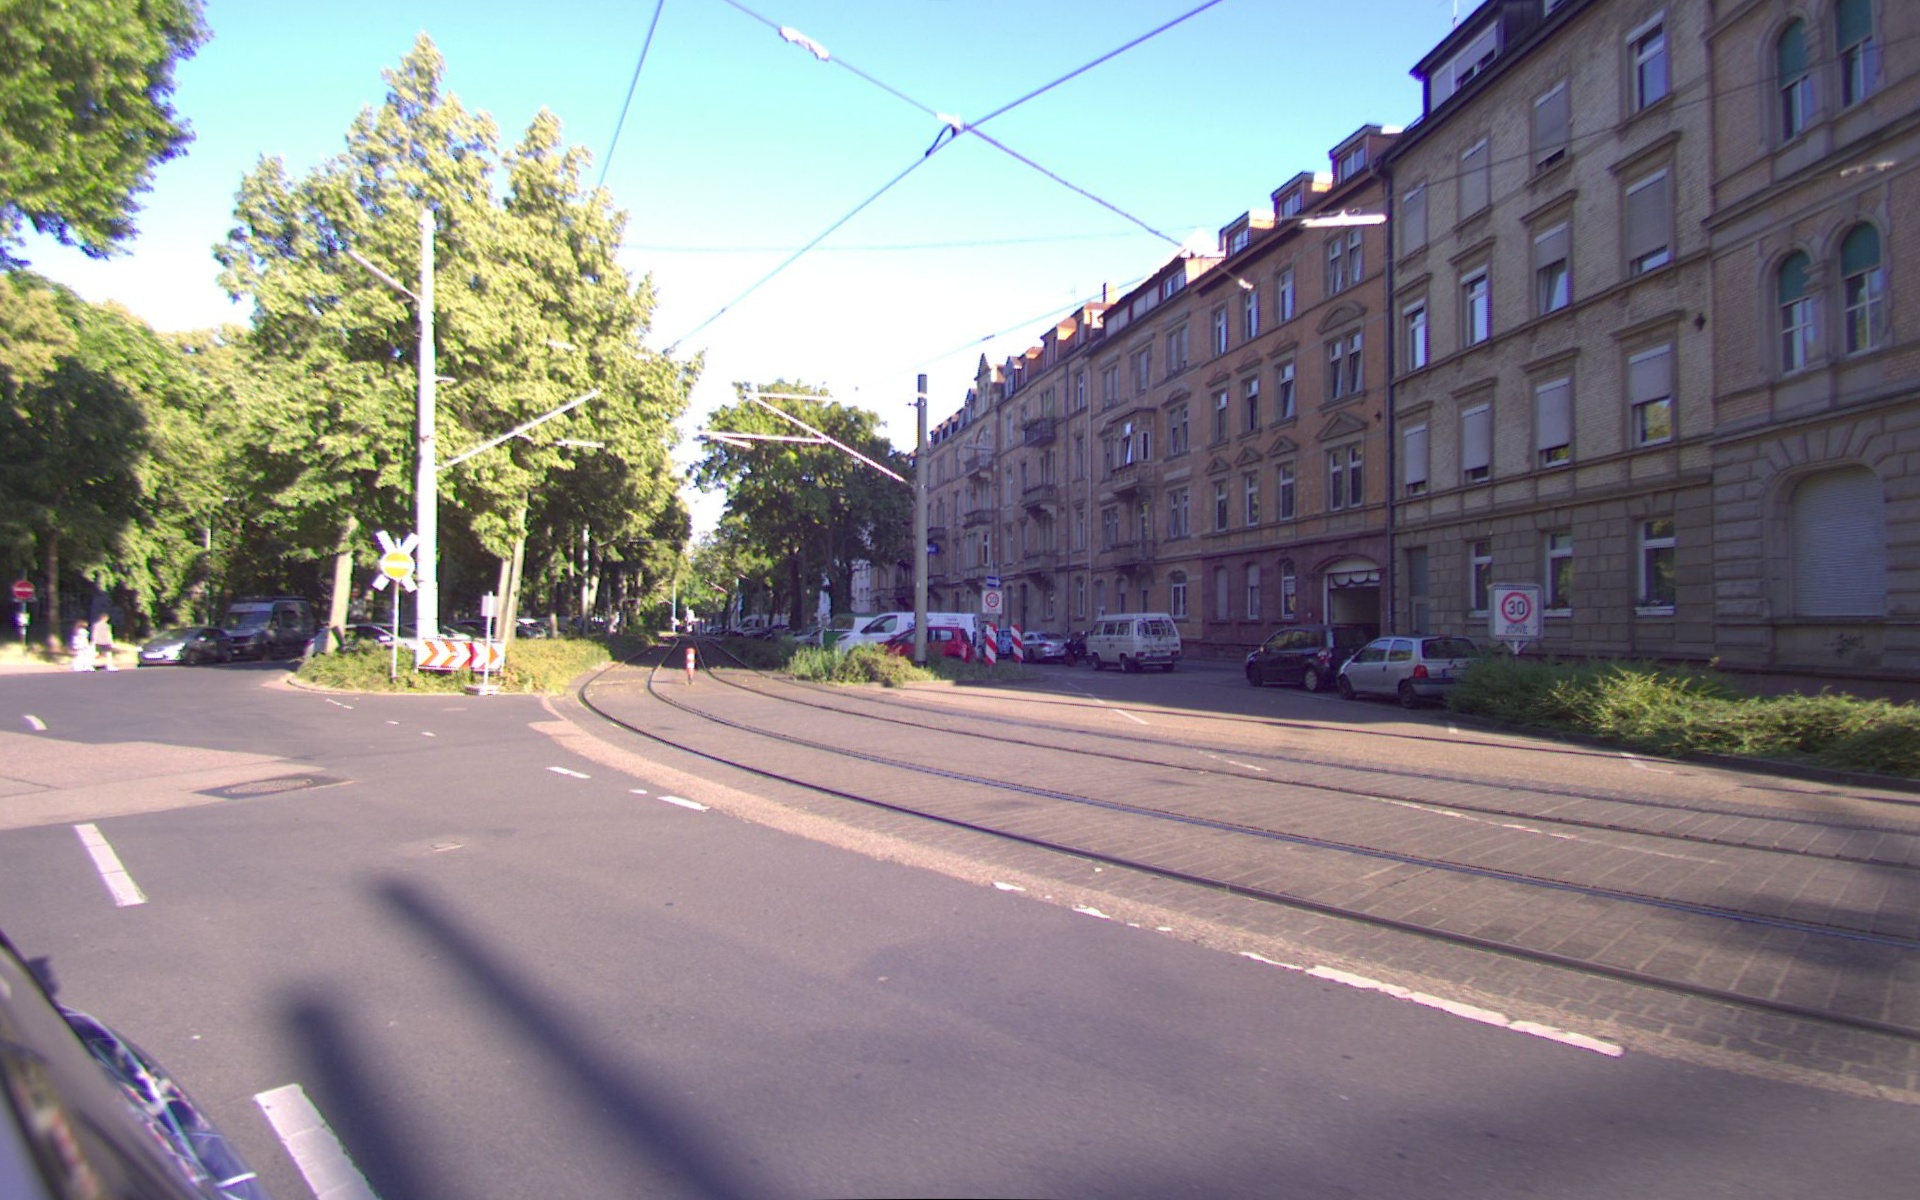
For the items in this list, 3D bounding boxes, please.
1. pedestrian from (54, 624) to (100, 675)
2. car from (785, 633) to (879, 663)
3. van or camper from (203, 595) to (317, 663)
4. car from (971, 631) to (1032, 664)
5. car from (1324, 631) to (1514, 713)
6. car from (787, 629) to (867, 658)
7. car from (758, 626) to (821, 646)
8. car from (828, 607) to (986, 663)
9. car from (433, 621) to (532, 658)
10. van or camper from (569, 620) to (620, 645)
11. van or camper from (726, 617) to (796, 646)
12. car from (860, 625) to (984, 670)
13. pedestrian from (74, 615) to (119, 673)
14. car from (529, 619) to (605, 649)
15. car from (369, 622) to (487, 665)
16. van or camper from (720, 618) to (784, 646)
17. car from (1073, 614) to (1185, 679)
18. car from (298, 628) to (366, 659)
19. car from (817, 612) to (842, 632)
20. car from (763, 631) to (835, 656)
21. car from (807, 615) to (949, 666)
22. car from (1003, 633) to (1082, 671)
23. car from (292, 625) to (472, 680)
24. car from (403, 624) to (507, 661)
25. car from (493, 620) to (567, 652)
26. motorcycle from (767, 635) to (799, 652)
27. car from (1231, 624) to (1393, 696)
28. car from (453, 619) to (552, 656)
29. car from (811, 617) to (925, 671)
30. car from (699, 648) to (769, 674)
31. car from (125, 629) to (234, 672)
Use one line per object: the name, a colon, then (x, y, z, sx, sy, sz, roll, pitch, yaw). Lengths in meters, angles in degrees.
pedestrian: (-28.854, 1.627, 33.078, 0.801, 1.620, 0.718, 1, -4, -9)
car: (-6.181, 2.291, 48.809, 4.253, 1.391, 1.585, 0, -2, 17)
van or camper: (-30.577, 1.289, 44.458, 2.056, 2.783, 5.860, 0, -2, -13)
car: (2.028, 2.327, 50.388, 1.825, 1.530, 4.071, 1, -2, -16)
car: (9.179, 1.411, 20.560, 1.827, 1.440, 3.501, -2, -2, -8)
car: (-6.803, 2.226, 51.973, 3.699, 1.391, 1.721, 0, -2, 11)
car: (-11.619, 2.437, 69.015, 3.951, 1.327, 1.591, 0, -2, 6)
car: (-1.725, 1.163, 33.980, 5.000, 1.778, 2.080, 0, -2, 8)
car: (-24.232, 1.998, 51.436, 4.317, 1.638, 1.932, -3, -1, 15)
van or camper: (-39.761, 3.529, 110.196, 4.837, 2.489, 2.037, -2, -1, 13)
van or camper: (-17.277, 2.754, 87.999, 5.497, 2.389, 2.297, 1, -2, 14)
car: (-1.153, 1.468, 31.548, 3.592, 1.339, 1.711, 0, -2, 9)
pedestrian: (-27.402, 1.394, 32.124, 0.801, 1.795, 0.718, 1, -2, -9)
car: (-31.337, 2.690, 80.730, 5.464, 2.153, 2.070, -3, -1, 16)
car: (-20.835, 1.692, 39.682, 3.846, 1.505, 1.824, -3, -1, 13)
van or camper: (-19.761, 3.051, 96.411, 5.615, 2.487, 1.993, 1, -2, 10)
car: (5.886, 1.632, 35.901, 1.826, 2.079, 5.014, -2, -2, -16)
car: (-33.048, 2.259, 53.381, 1.658, 1.537, 4.501, 0, -2, -13)
car: (-13.531, 2.274, 104.651, 1.966, 2.029, 4.012, 1, -1, -16)
car: (-9.145, 2.471, 57.708, 3.700, 1.391, 1.701, 0, -2, 12)
car: (-2.973, 1.454, 36.957, 4.789, 1.778, 2.076, 0, -2, 14)
car: (3.523, 2.210, 44.243, 1.825, 1.553, 4.785, 1, -2, -16)
car: (-16.578, 1.492, 29.145, 4.238, 1.440, 1.773, -1, -1, 3)
car: (-22.554, 1.890, 45.224, 3.831, 1.450, 1.825, -3, -1, 12)
car: (-26.719, 2.253, 62.859, 4.134, 1.795, 1.869, -3, -1, 24)
motorcycle: (-10.566, 2.585, 60.416, 1.706, 0.962, 1.018, 0, -2, 6)
car: (8.633, 1.468, 25.196, 1.825, 1.575, 3.882, -2, -2, -16)
car: (-25.739, 2.104, 56.975, 4.954, 1.795, 1.978, -3, -1, 14)
car: (-3.590, 1.704, 39.716, 3.967, 2.029, 1.988, 0, -2, 18)
car: (-14.649, 3.960, 65.761, 3.958, 1.590, 1.993, 0, -2, 12)
car: (-29.280, 1.865, 38.102, 1.658, 1.457, 3.880, -2, -1, -10)
